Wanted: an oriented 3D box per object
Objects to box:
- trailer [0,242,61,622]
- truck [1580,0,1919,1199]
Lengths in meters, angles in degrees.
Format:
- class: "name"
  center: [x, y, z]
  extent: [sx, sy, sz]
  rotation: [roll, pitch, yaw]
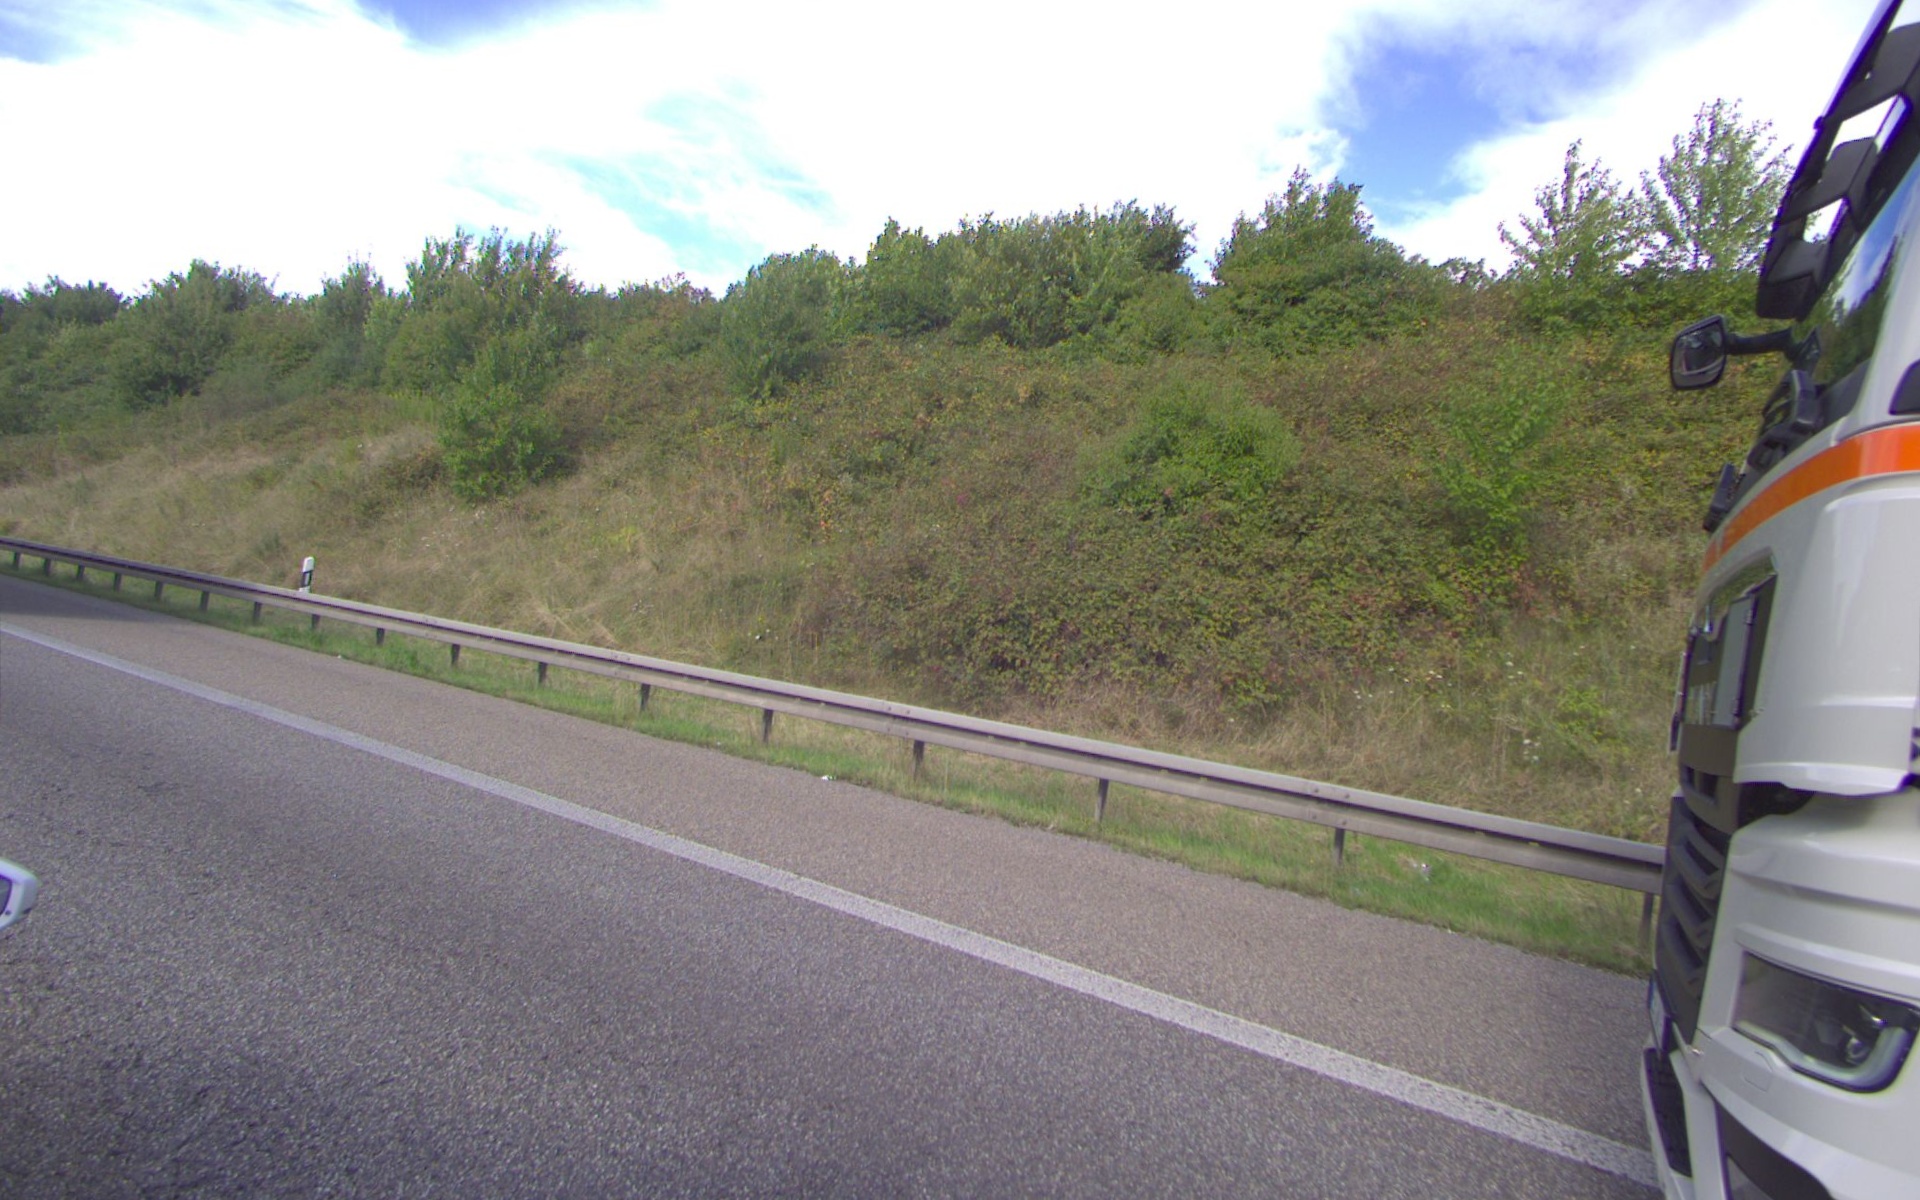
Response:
- class: "trailer"
  center: [-18.237, -2.845, 15.192]
  extent: [13.069, 4.715, 3.007]
  rotation: [7, -1, 32]
- class: "truck"
  center: [4.474, 0.004, 1.361]
  extent: [5.808, 4.091, 2.806]
  rotation: [6, -1, 33]
